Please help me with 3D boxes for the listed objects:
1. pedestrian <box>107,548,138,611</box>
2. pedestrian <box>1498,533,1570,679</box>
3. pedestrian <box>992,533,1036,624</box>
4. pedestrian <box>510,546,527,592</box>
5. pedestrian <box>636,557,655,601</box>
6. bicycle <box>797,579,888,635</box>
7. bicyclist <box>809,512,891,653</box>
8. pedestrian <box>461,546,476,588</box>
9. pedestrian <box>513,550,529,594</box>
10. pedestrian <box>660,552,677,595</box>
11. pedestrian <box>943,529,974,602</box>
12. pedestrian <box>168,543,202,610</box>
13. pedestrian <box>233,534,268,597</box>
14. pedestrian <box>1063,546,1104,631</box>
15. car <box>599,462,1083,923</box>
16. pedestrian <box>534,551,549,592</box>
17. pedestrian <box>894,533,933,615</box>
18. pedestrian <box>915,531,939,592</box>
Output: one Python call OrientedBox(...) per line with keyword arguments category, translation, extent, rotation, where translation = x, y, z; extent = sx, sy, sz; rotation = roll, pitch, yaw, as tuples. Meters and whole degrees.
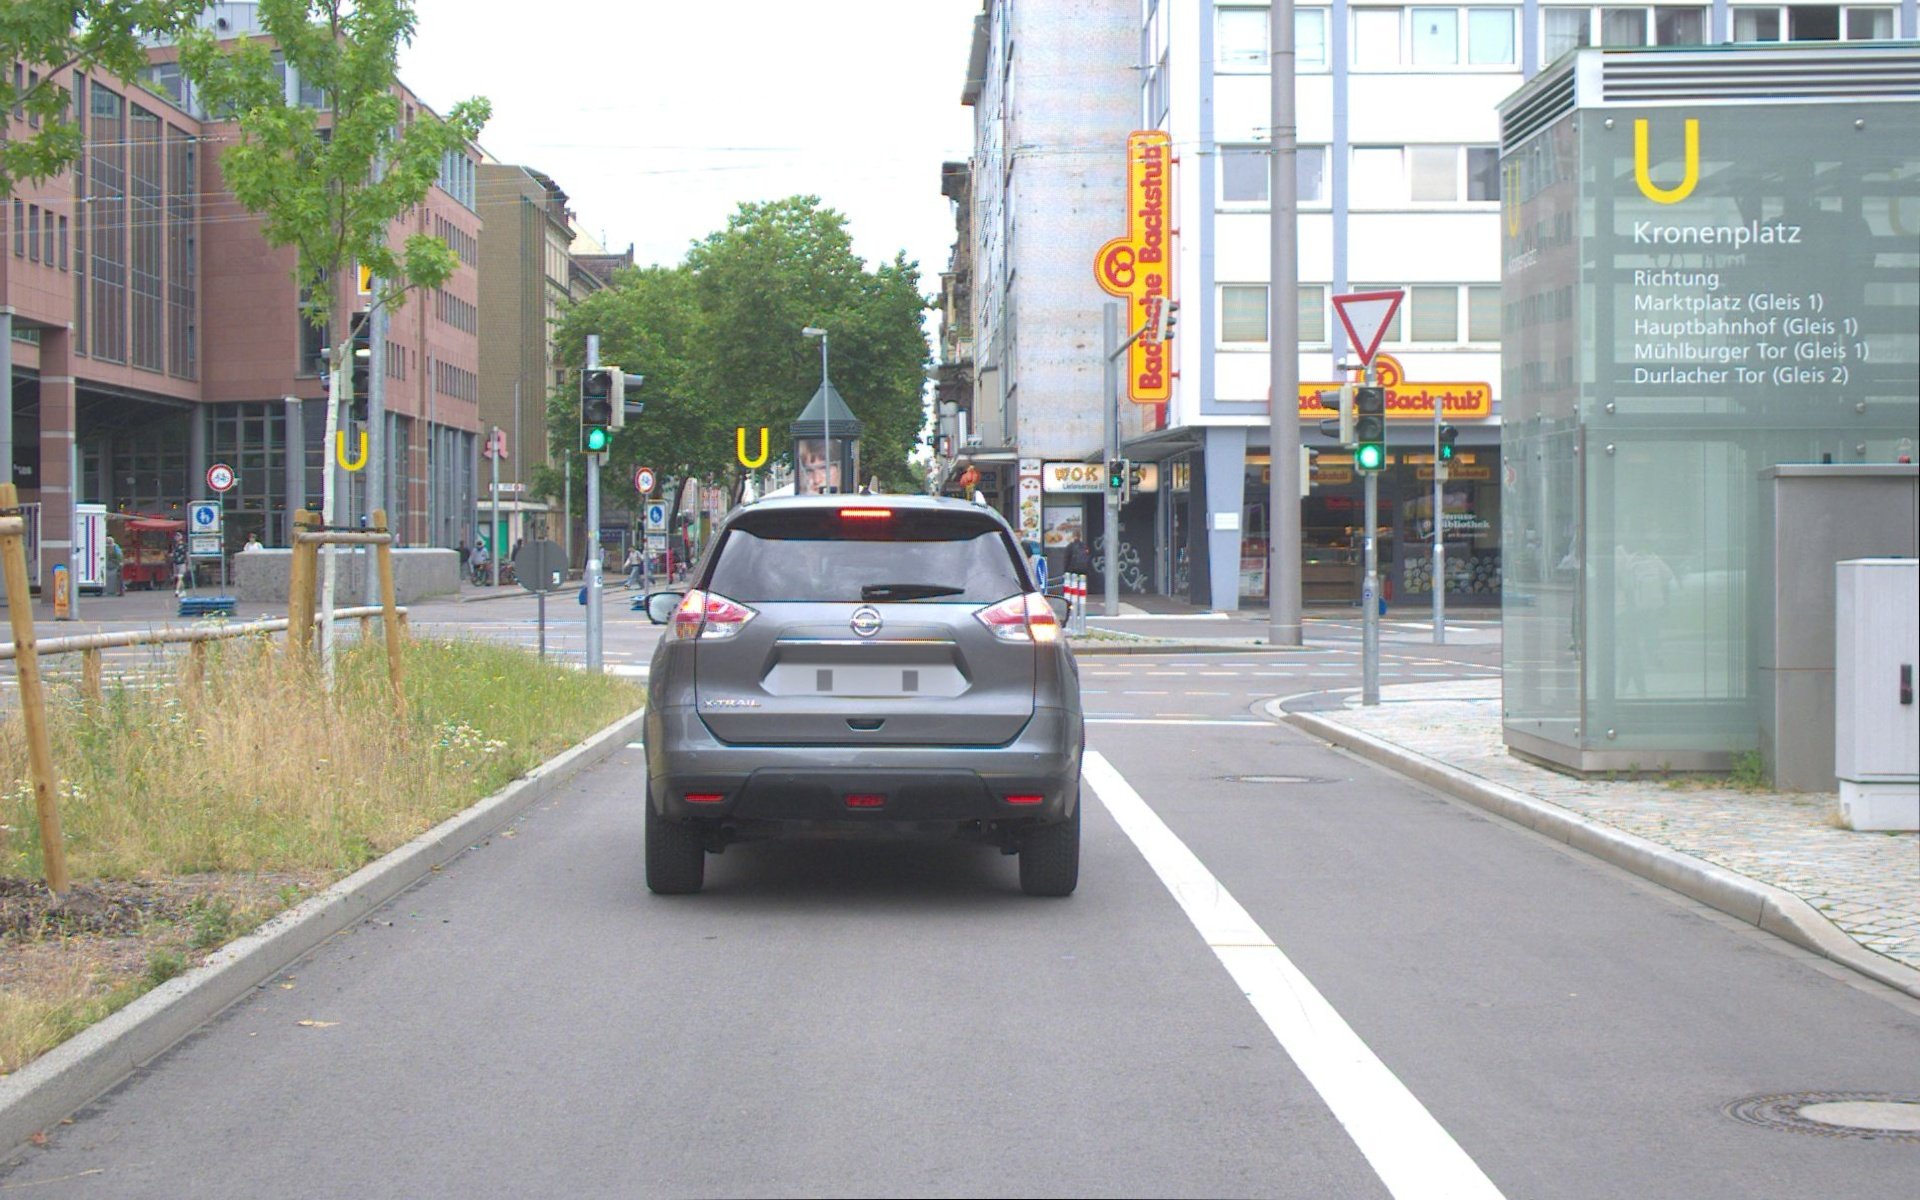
OrientedBox(category="pedestrian", translation=(-24.391, -0.600, 100.066), extent=(0.732, 1.835, 0.702), rotation=(1, 1, -25))
OrientedBox(category="pedestrian", translation=(7.010, 0.064, 42.002), extent=(0.621, 1.755, 0.780), rotation=(1, 1, -8))
OrientedBox(category="pedestrian", translation=(1.094, -0.438, 69.929), extent=(0.712, 1.826, 1.017), rotation=(1, 1, -8))
OrientedBox(category="pedestrian", translation=(-16.618, -1.178, 129.459), extent=(0.600, 1.708, 0.656), rotation=(1, 1, -8))
OrientedBox(category="pedestrian", translation=(-11.076, -0.743, 121.097), extent=(0.600, 1.531, 0.656), rotation=(1, 1, -8))
OrientedBox(category="bicycle", translation=(-2.521, 0.144, 73.869), extent=(1.866, 1.168, 0.531), rotation=(1, 1, -15))
OrientedBox(category="bicyclist", translation=(-1.429, -0.232, 44.482), extent=(0.834, 1.806, 0.878), rotation=(1, 1, -18))
OrientedBox(category="pedestrian", translation=(-19.955, -1.344, 139.637), extent=(0.600, 1.708, 0.656), rotation=(1, 1, -8))
OrientedBox(category="pedestrian", translation=(-17.183, -1.084, 134.511), extent=(0.600, 1.708, 0.656), rotation=(1, 1, -8))
OrientedBox(category="pedestrian", translation=(-11.689, -1.053, 137.915), extent=(0.600, 1.708, 0.656), rotation=(1, 1, -8))
OrientedBox(category="pedestrian", translation=(-0.034, -0.862, 86.415), extent=(0.737, 1.815, 0.662), rotation=(0, 1, -3))
OrientedBox(category="pedestrian", translation=(-21.583, -0.651, 95.694), extent=(0.732, 1.835, 0.702), rotation=(0, 1, -29))
OrientedBox(category="pedestrian", translation=(-20.818, -1.016, 100.890), extent=(0.701, 1.835, 0.734), rotation=(1, 1, 19))
OrientedBox(category="pedestrian", translation=(2.517, -0.236, 69.954), extent=(0.710, 1.699, 0.734), rotation=(1, 1, 12))
OrientedBox(category="car", translation=(-0.399, 0.390, 15.766), extent=(1.863, 1.769, 4.566), rotation=(-1, -1, 2))
OrientedBox(category="pedestrian", translation=(-17.655, -1.193, 144.911), extent=(0.600, 1.708, 0.656), rotation=(1, 1, -8))
OrientedBox(category="pedestrian", translation=(-0.988, -0.560, 73.349), extent=(0.732, 1.740, 0.663), rotation=(1, 1, -8))
OrientedBox(category="pedestrian", translation=(-0.929, -1.077, 96.394), extent=(0.643, 1.699, 0.559), rotation=(1, 1, 0))
